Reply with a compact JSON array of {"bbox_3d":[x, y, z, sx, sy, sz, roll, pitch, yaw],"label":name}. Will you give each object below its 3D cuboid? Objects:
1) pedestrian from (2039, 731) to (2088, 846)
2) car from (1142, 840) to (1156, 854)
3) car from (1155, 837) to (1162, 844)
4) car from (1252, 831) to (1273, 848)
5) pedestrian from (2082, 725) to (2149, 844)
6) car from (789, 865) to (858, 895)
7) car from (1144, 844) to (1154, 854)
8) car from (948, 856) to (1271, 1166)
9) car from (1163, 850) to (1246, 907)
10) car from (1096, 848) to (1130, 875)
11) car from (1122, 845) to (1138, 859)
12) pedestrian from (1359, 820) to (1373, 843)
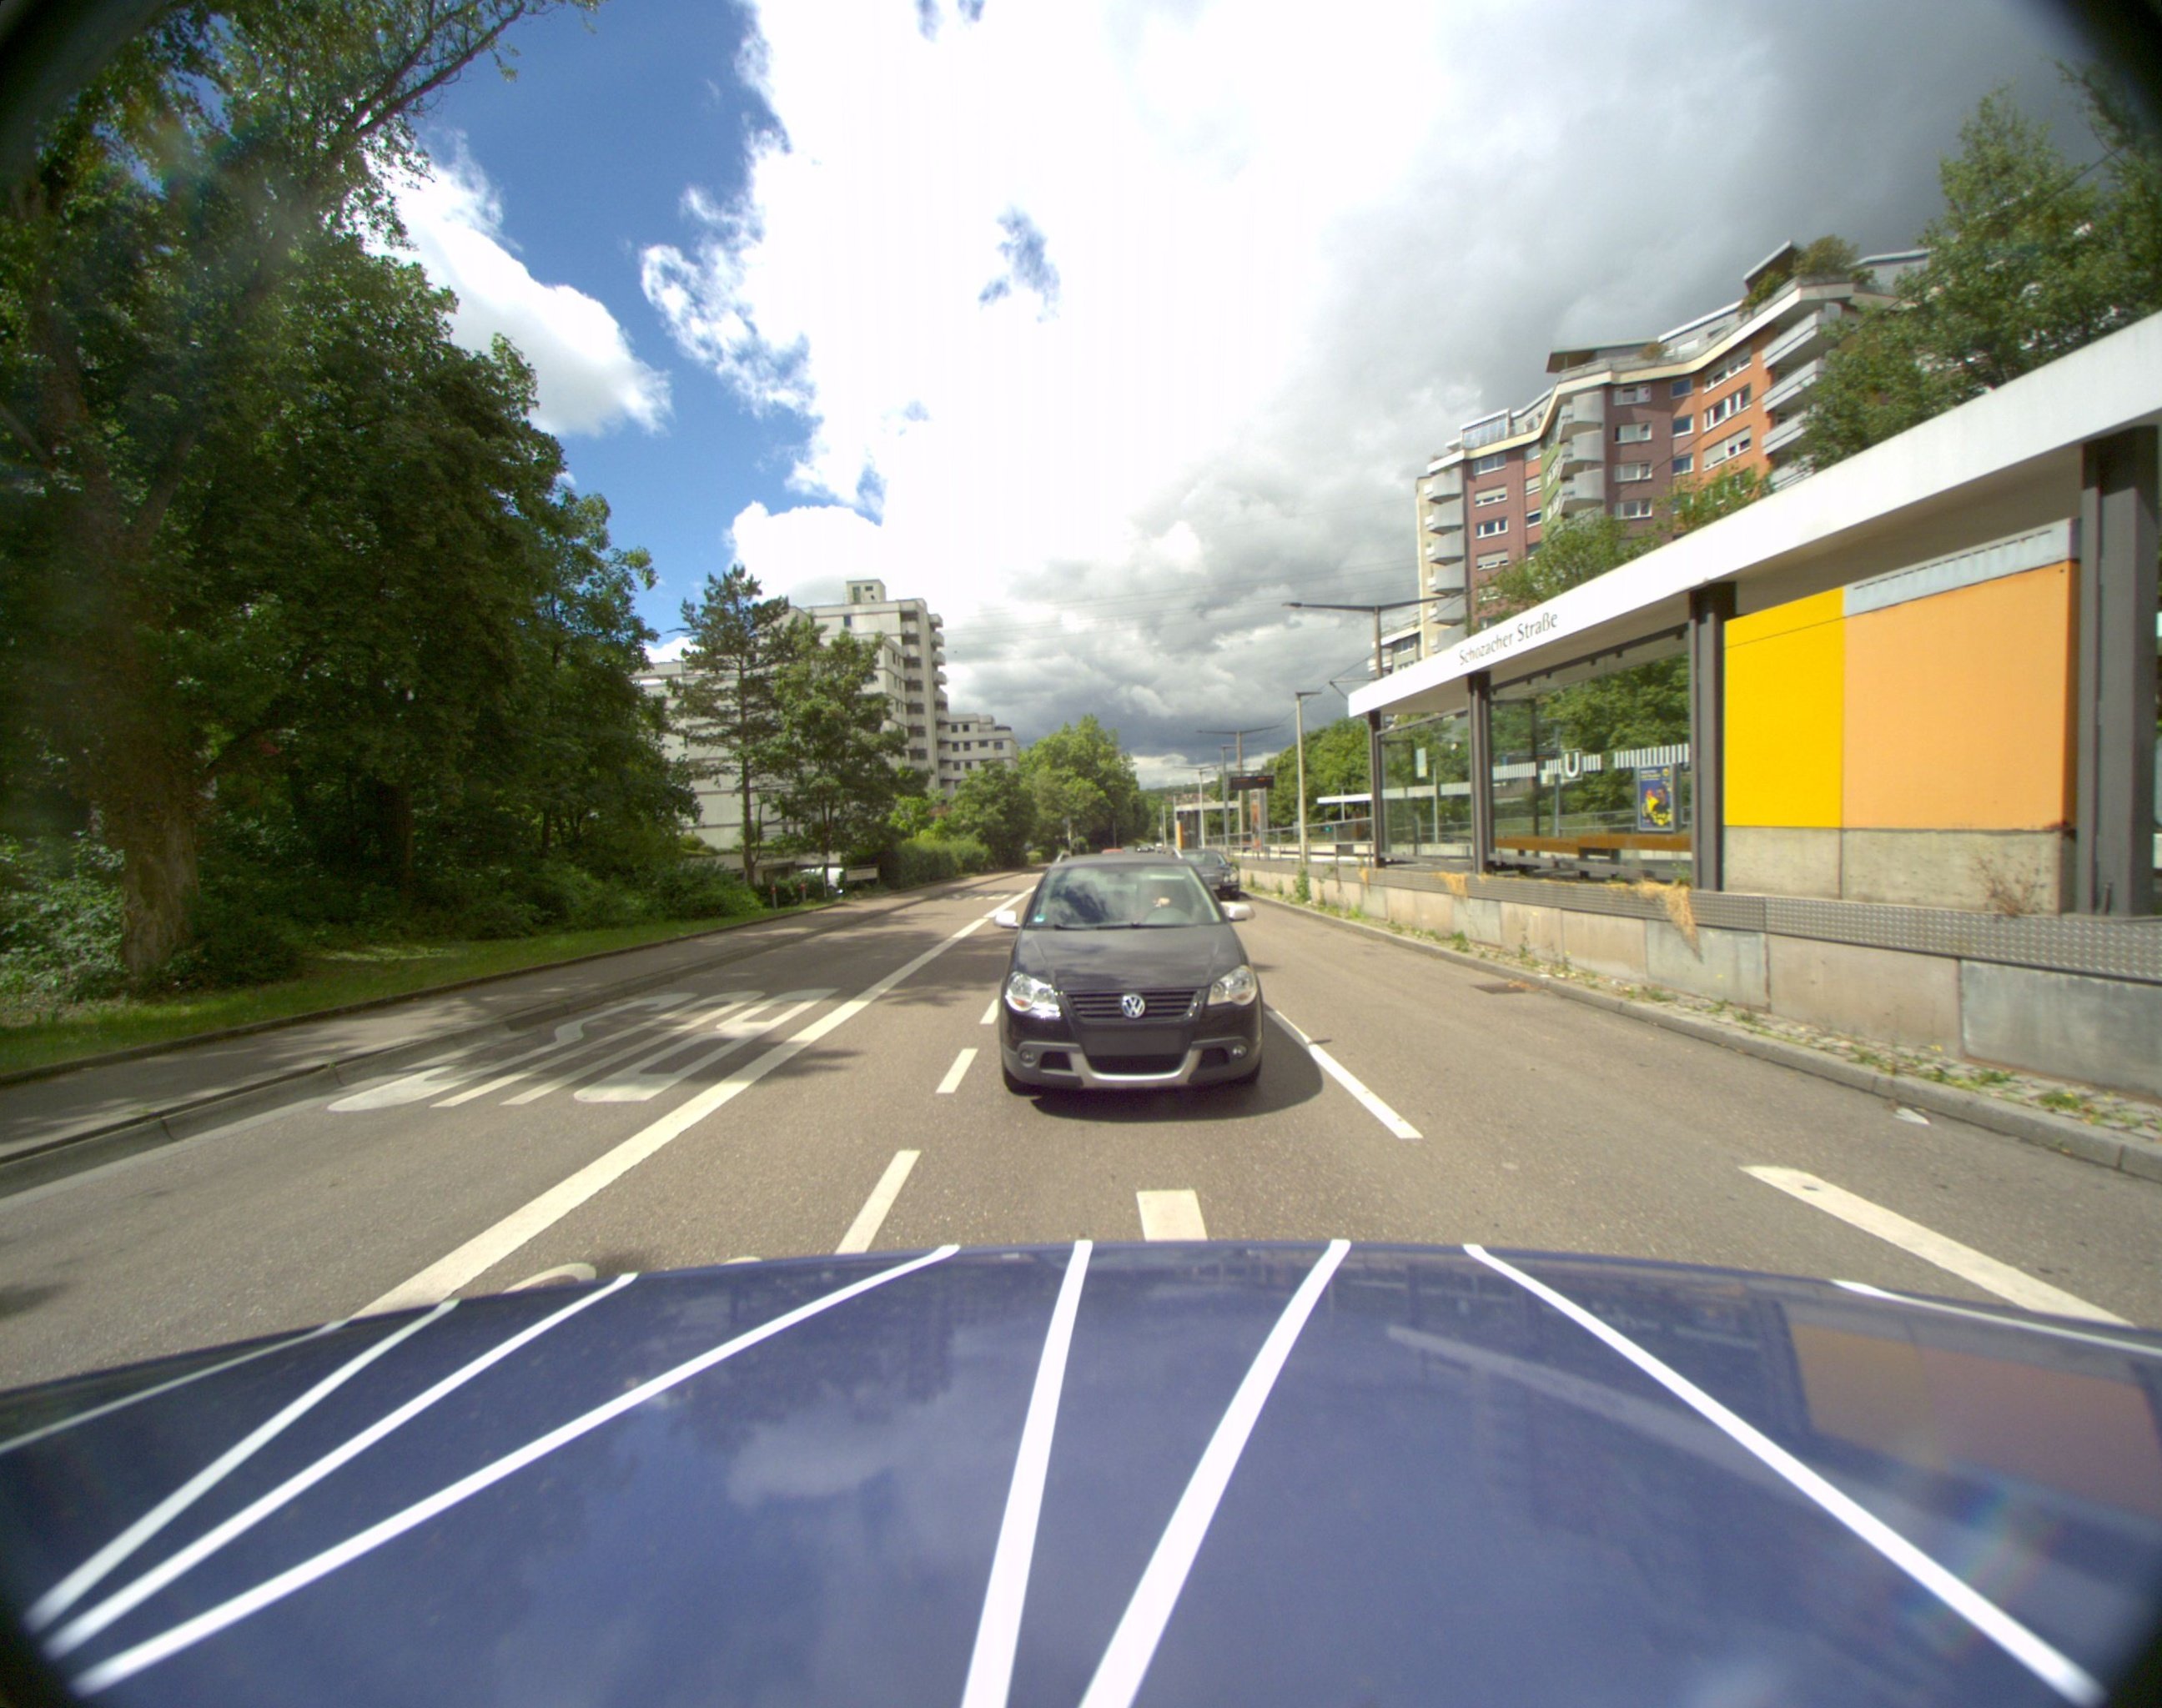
[{"bbox_3d":[15.014,-0.990,11.617,0.354,1.703,0.426,-3,2,-41],"label":"pedestrian"},{"bbox_3d":[10.625,-1.087,119.142,1.997,2.002,4.001,-3,1,7],"label":"car"},{"bbox_3d":[20.307,-3.526,198.557,1.518,1.674,4.000,-2,1,3],"label":"car"},{"bbox_3d":[23.014,-1.803,96.587,1.737,2.002,4.000,-2,1,2],"label":"car"},{"bbox_3d":[15.357,-1.010,11.287,0.387,1.703,0.550,-3,2,-41],"label":"pedestrian"},{"bbox_3d":[-19.799,1.997,58.536,4.543,2.002,2.001,-3,1,7],"label":"car"},{"bbox_3d":[12.773,-0.888,142.676,1.802,1.698,4.000,-3,1,4],"label":"car"},{"bbox_3d":[0.245,0.845,6.008,1.641,1.521,4.000,-2,1,3],"label":"car"},{"bbox_3d":[3.406,0.621,21.703,1.821,1.377,4.065,-2,1,2],"label":"car"},{"bbox_3d":[1.864,0.413,44.488,1.821,1.377,4.065,-2,1,2],"label":"car"},{"bbox_3d":[5.275,-0.241,81.591,1.643,1.395,3.708,-2,1,5],"label":"car"},{"bbox_3d":[16.573,-1.311,44.252,0.536,1.270,0.561,-2,1,-6],"label":"pedestrian"}]
